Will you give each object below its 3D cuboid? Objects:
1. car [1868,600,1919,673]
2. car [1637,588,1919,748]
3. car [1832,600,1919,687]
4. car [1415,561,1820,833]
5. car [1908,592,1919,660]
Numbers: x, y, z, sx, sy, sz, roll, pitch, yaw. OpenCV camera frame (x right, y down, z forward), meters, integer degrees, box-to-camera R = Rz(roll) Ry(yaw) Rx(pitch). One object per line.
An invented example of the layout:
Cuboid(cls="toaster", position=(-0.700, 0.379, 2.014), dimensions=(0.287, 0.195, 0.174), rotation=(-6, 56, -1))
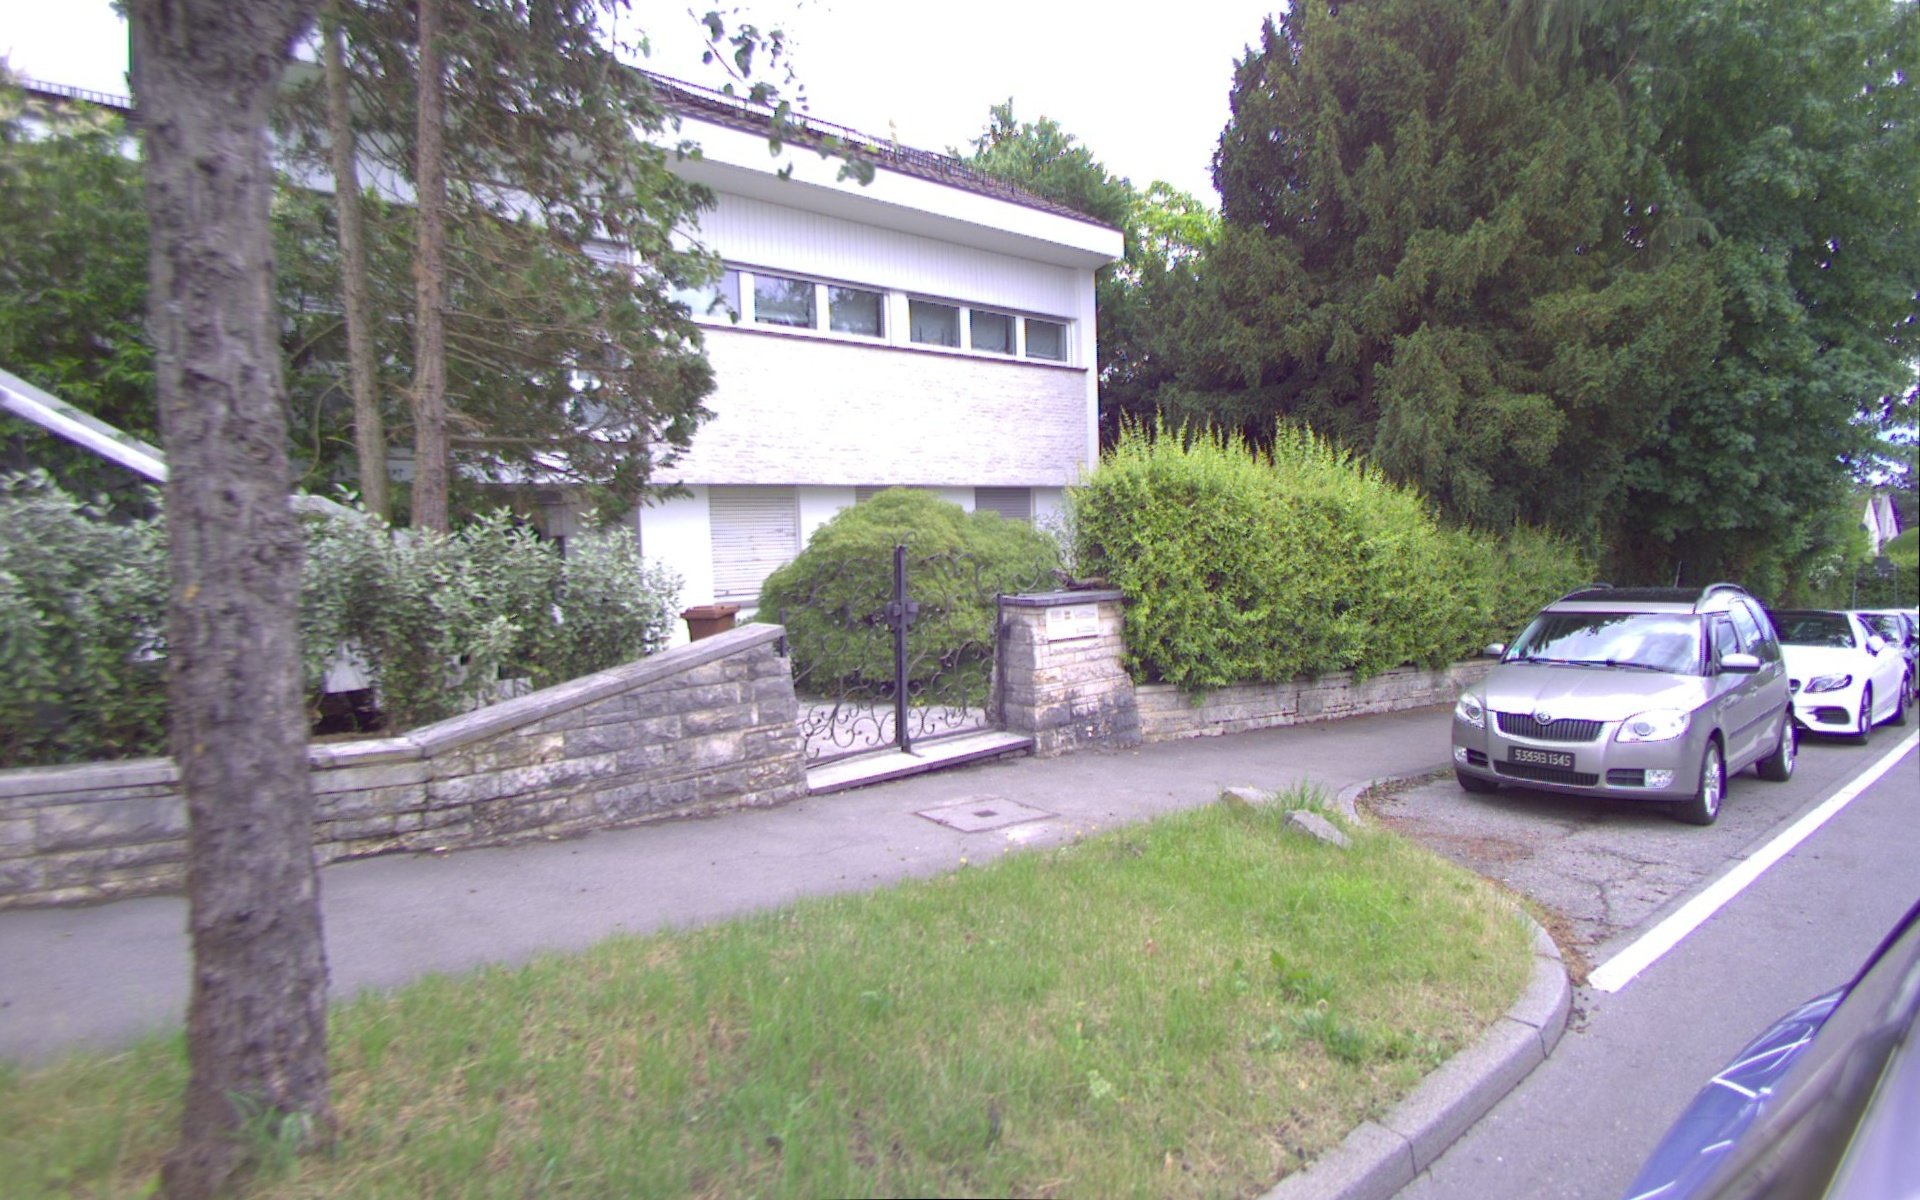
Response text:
Cuboid(cls="car", position=(21.782, 0.791, 22.760), dimensions=(1.811, 1.470, 4.308), rotation=(3, 2, 45))
Cuboid(cls="car", position=(10.279, 0.679, 12.394), dimensions=(4.915, 1.510, 1.998), rotation=(0, 2, -40))
Cuboid(cls="car", position=(18.220, 0.774, 19.404), dimensions=(4.087, 1.527, 1.700), rotation=(0, -1, -41))
Cuboid(cls="car", position=(5.383, 0.587, 8.101), dimensions=(3.860, 1.653, 1.720), rotation=(0, 0, -41))
Cuboid(cls="car", position=(25.417, 0.665, 25.577), dimensions=(2.002, 1.628, 4.682), rotation=(3, 2, 44))
